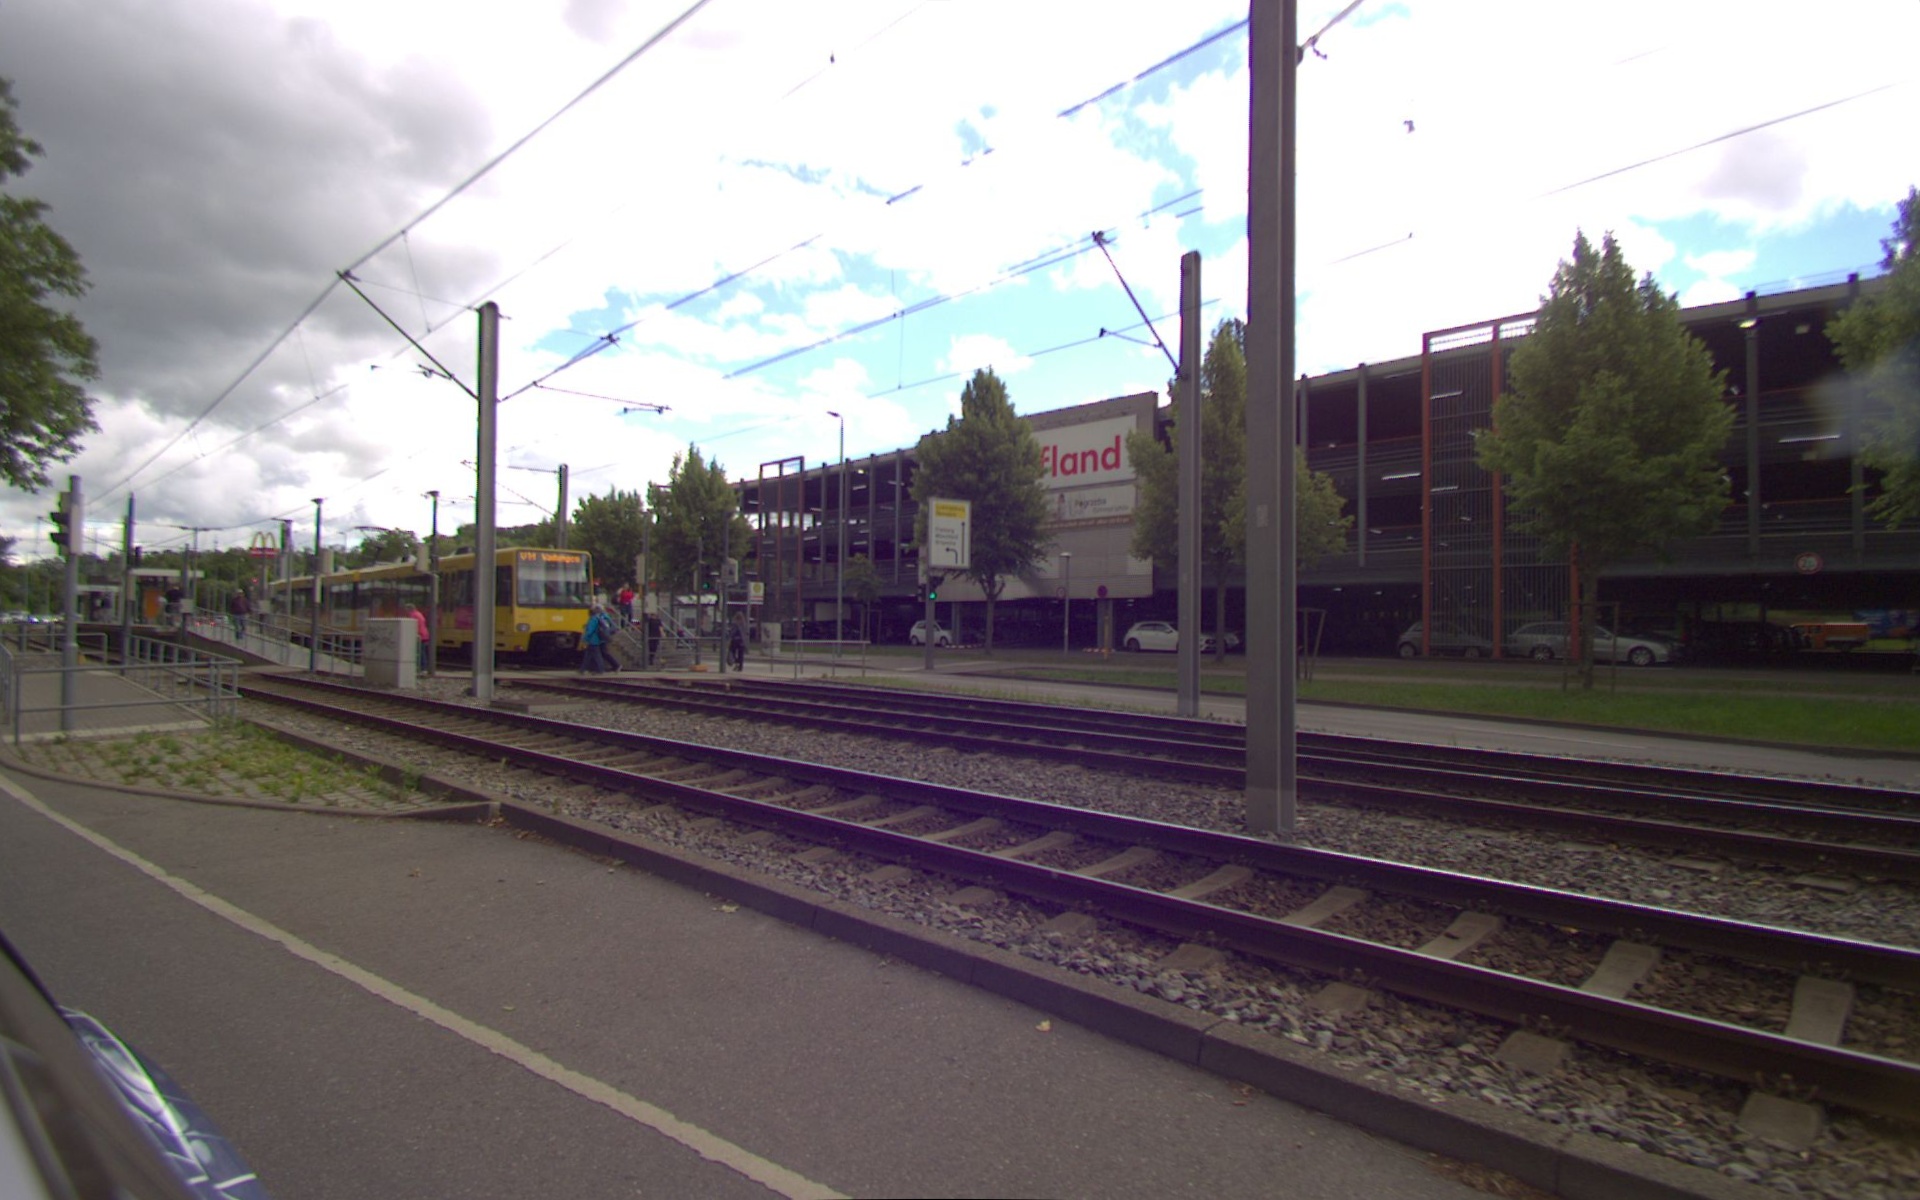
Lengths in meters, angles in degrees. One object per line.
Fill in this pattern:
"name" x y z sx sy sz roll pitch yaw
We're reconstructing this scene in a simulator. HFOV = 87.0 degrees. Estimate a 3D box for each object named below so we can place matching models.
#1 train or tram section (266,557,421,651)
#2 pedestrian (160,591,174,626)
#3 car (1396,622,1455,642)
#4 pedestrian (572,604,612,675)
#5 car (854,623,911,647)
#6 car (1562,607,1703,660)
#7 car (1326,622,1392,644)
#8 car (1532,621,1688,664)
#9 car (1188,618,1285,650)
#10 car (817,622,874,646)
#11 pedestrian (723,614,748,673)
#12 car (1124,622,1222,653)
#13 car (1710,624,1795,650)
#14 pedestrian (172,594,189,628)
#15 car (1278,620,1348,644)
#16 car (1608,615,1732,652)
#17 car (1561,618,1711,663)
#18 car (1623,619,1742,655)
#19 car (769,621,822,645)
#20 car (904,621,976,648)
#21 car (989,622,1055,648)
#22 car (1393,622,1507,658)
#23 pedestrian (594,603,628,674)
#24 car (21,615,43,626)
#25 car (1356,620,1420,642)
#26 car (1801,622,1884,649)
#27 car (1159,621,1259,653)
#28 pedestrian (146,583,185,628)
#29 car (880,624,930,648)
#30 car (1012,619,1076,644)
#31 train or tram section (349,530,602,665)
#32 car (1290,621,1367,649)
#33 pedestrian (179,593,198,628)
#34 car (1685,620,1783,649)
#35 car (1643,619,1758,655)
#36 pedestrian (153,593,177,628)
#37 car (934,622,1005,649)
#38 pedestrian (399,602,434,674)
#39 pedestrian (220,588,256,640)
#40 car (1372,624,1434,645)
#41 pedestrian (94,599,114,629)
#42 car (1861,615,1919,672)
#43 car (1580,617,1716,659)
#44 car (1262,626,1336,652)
"train or tram section" -31.054 0.333 50.218 2.724 3.912 18.648 1 -2 -43
"pedestrian" -34.185 0.378 43.613 0.639 1.476 0.356 -1 -3 44
"car" 30.333 2.062 65.966 1.421 1.234 3.219 4 -4 -44
"pedestrian" -8.674 0.944 23.906 0.703 1.623 0.943 2 -3 -12
"car" -5.236 2.328 67.959 1.704 1.526 3.798 4 -4 -45
"car" 24.704 1.206 37.268 4.055 1.828 1.820 -1 -2 45
"car" 23.535 1.940 59.699 1.515 1.280 3.303 1 -2 -43
"car" 21.331 1.360 33.294 4.073 1.315 1.617 -1 -2 44
"car" 13.334 1.611 48.994 4.200 1.443 1.820 -1 -4 45
"car" -7.517 2.225 66.302 1.704 1.526 3.798 4 -4 -45
"pedestrian" -6.399 1.236 28.875 0.509 1.675 0.467 3 -3 -34
"car" 9.468 1.633 45.172 4.073 1.334 1.617 -1 -2 44
"car" 45.470 2.088 58.077 3.677 1.449 1.654 -1 -2 45
"pedestrian" -33.368 0.487 43.321 0.411 1.416 0.473 -1 -4 44
"car" 18.723 1.700 53.783 1.421 1.234 3.219 4 -4 -44
"car" 29.792 1.415 42.531 1.793 1.453 4.002 4 -4 -45
"car" 23.321 1.367 34.995 4.055 1.443 1.820 -1 -4 45
"car" 31.420 1.602 44.076 1.793 1.453 4.002 4 -4 -45
"car" -11.405 2.284 70.026 1.704 1.526 3.798 4 -4 -45
"car" -1.142 1.929 56.308 1.757 1.409 4.003 4 -4 -44
"car" 3.760 2.120 61.738 1.734 1.526 3.871 4 -4 -45
"car" 17.848 1.438 36.971 1.421 1.233 3.477 1 -2 -43
"pedestrian" -8.624 0.949 25.018 0.646 1.711 0.730 2 -3 -12
"car" -137.699 3.067 150.177 1.967 1.547 4.009 4 -3 -36
"car" 25.635 1.864 60.620 1.421 1.234 3.219 4 -4 -44
"car" 59.025 2.355 67.727 1.969 1.741 4.005 4 -4 -42
"car" 11.573 1.684 47.260 4.200 1.443 1.820 -1 -2 45
"pedestrian" -30.674 0.225 39.073 0.735 1.691 0.876 2 -3 -2
"car" -3.794 2.472 69.780 3.393 1.523 1.541 -1 -4 44
"car" 5.279 1.965 63.964 1.734 1.526 3.871 2 -2 -45
"train or tram section" -18.265 0.093 36.619 2.724 3.858 18.648 1 -2 -43
"car" 20.337 1.895 55.946 1.691 1.513 3.657 1 -2 -43
"pedestrian" -33.535 0.465 44.010 0.468 1.494 0.544 3 -3 -22
"car" 41.942 1.875 54.886 1.793 1.453 4.002 4 -4 -45
"car" 33.536 1.647 45.904 1.793 1.587 4.002 2 -2 -45
"pedestrian" -34.724 0.454 44.218 0.513 1.494 0.582 2 -3 -7
"car" 0.531 2.013 57.980 1.757 1.414 4.003 4 -4 -44
"pedestrian" -13.018 0.909 24.237 0.604 1.666 0.798 3 -3 -24
"pedestrian" -24.006 0.482 33.653 0.791 1.691 0.762 -1 -4 45
"car" 27.288 2.098 62.393 1.421 1.234 3.219 4 -4 -44
"pedestrian" -51.575 0.868 60.955 0.937 1.757 0.740 -1 -4 45
"car" 26.202 1.142 26.594 3.677 1.487 1.654 -1 -2 45
"car" 26.434 1.419 38.958 4.055 1.528 1.820 -1 -2 45
"car" 17.085 1.971 51.085 1.421 1.234 3.219 4 -4 -44
